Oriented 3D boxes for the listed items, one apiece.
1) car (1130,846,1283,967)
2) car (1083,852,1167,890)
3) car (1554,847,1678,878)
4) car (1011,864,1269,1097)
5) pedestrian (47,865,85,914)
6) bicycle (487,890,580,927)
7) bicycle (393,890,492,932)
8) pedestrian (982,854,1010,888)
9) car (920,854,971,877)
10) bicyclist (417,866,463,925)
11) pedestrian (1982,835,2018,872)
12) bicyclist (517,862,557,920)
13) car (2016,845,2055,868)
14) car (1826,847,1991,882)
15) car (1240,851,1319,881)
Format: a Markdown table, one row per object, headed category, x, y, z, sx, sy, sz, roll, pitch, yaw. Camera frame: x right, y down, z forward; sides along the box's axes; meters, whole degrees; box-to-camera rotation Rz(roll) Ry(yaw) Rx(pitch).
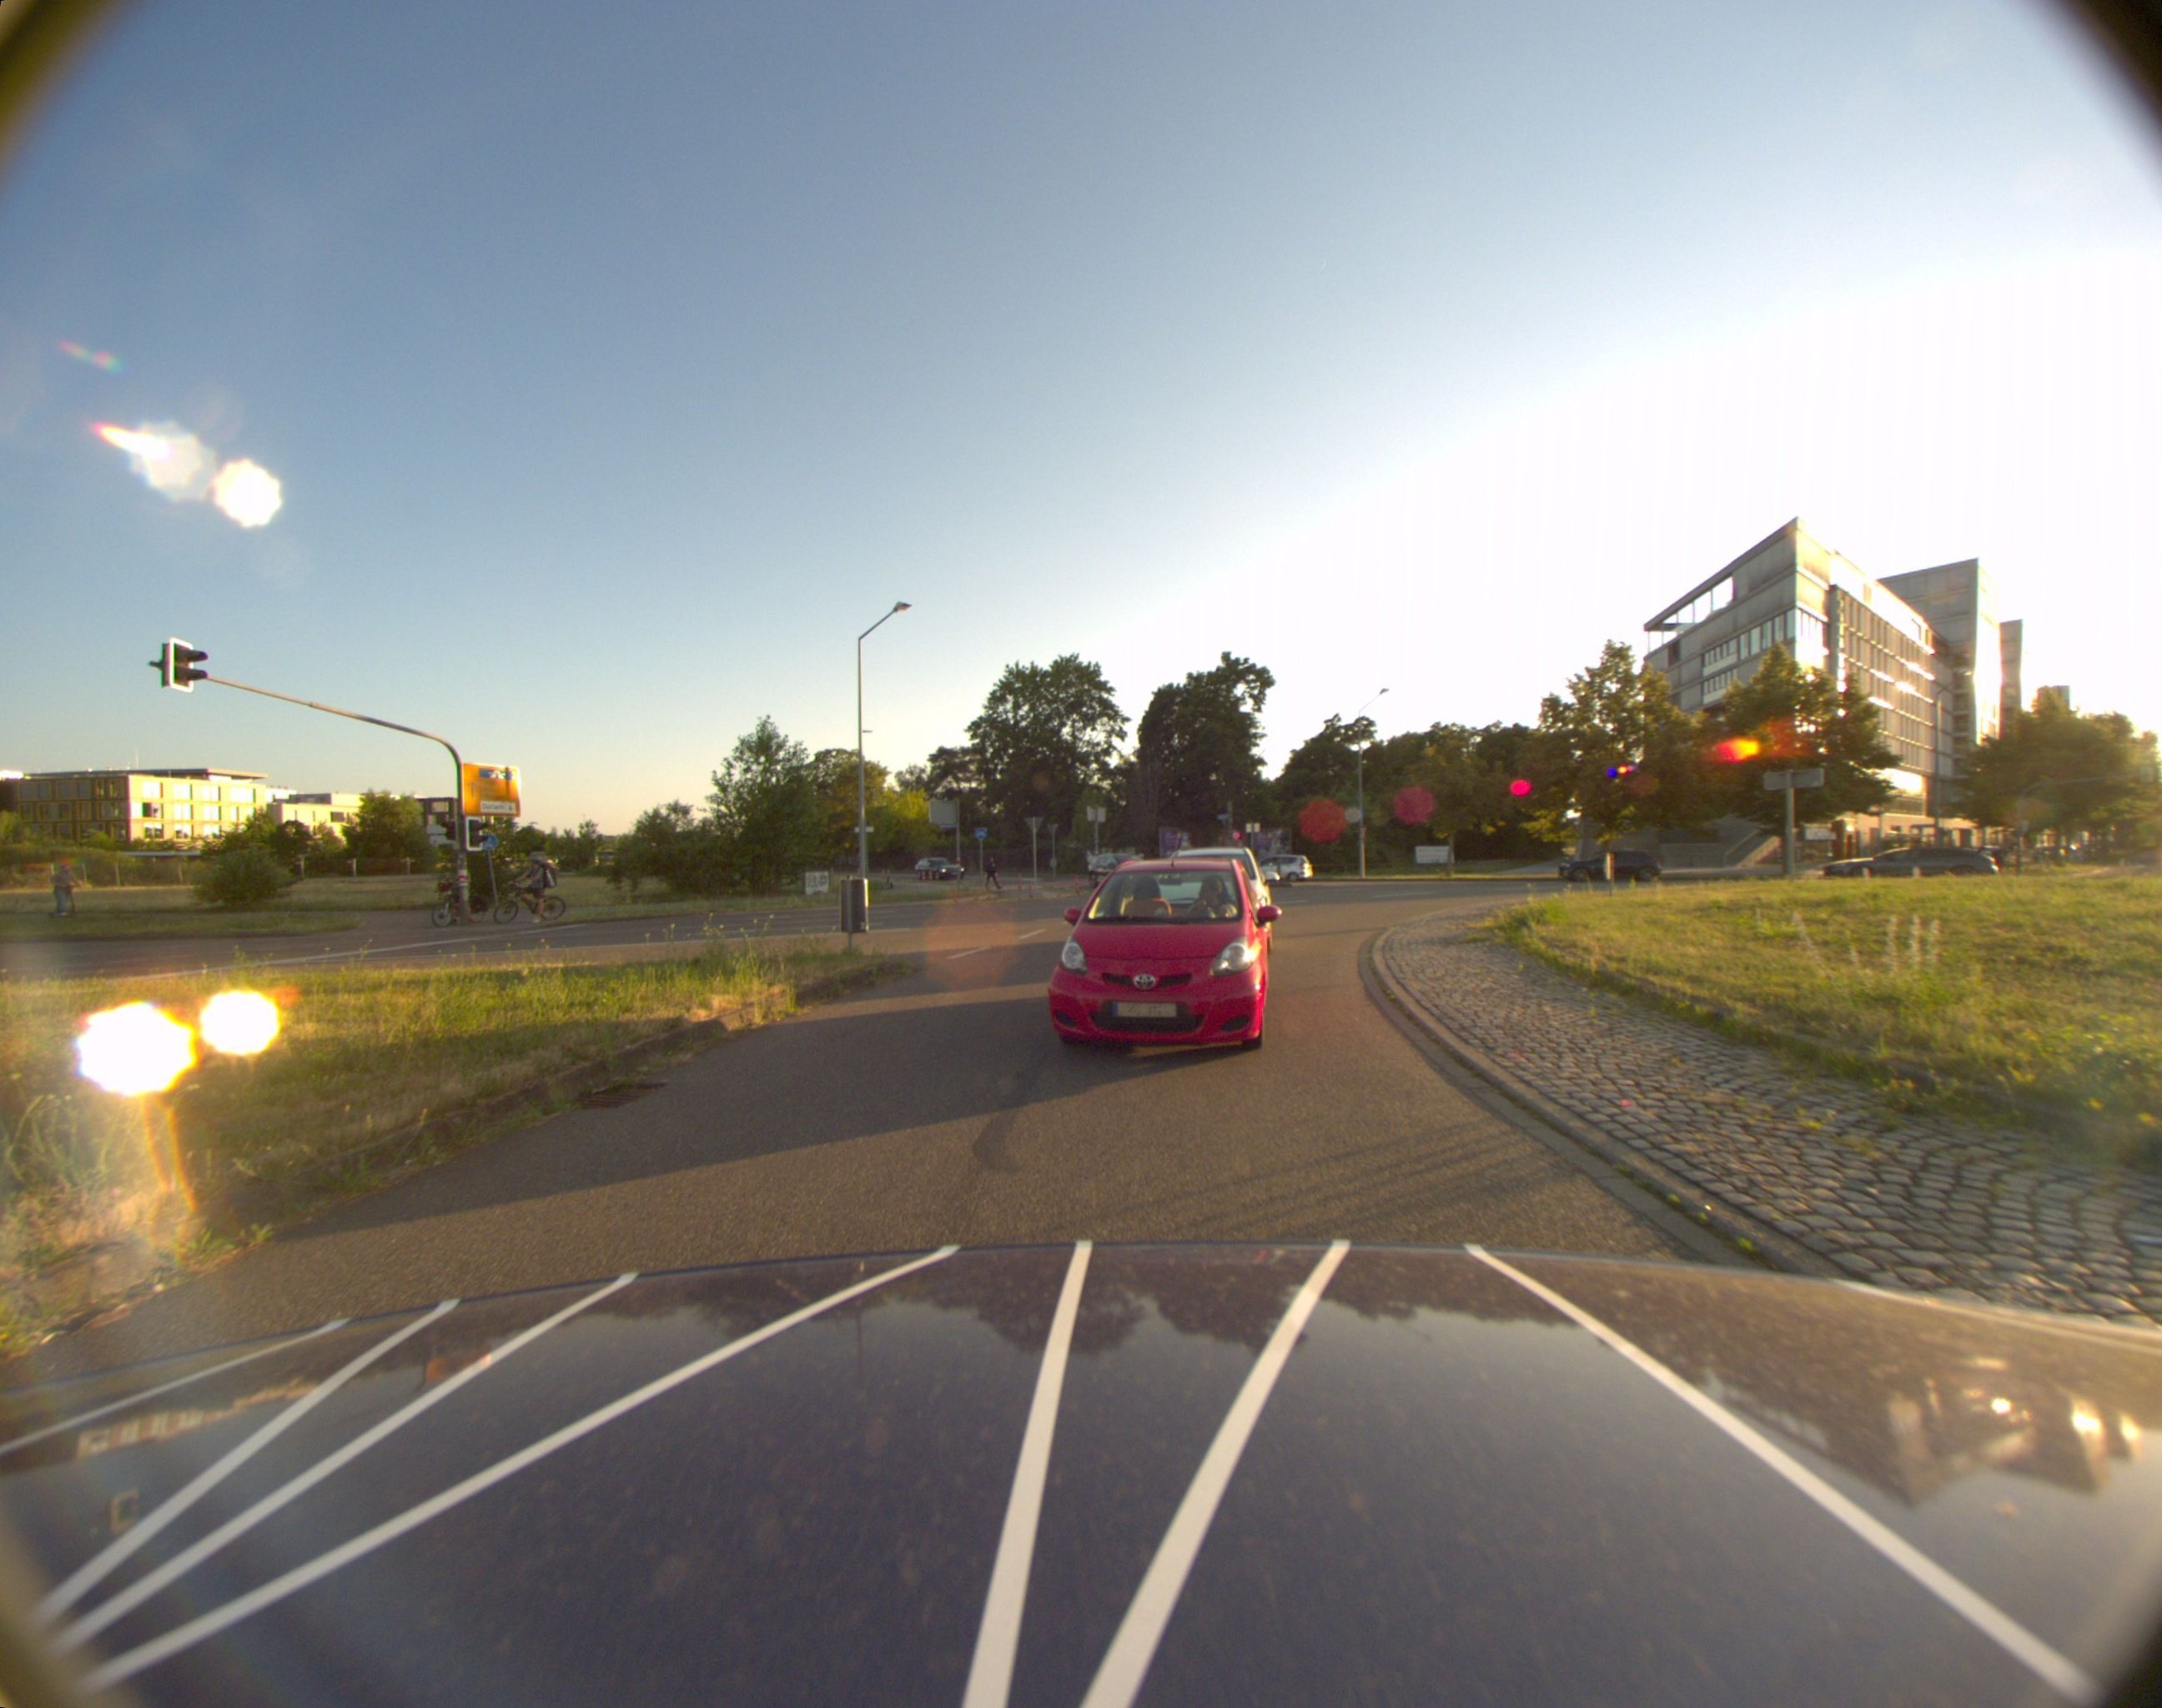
| category | x | y | z | sx | sy | sz | roll | pitch | yaw |
| --- | --- | --- | --- | --- | --- | --- | --- | --- | --- |
| car | 2.034 | 0.691 | 12.211 | 1.997 | 1.597 | 4.201 | -1 | 0 | 10 |
| car | 1.939 | 0.733 | 34.793 | 2.003 | 1.588 | 4.305 | -1 | 1 | -26 |
| car | 24.736 | 0.385 | 35.312 | 4.374 | 1.368 | 2.003 | -1 | 1 | 22 |
| car | 0.848 | 0.861 | 7.067 | 1.686 | 1.412 | 4.004 | -1 | 1 | 15 |
| pedestrian | -34.898 | 1.216 | 26.119 | 0.519 | 1.674 | 0.566 | -1 | 1 | 8 |
| bicycle | -16.345 | 1.605 | 22.756 | 0.708 | 0.957 | 2.149 | -1 | 1 | 29 |
| bicycle | -18.482 | 1.629 | 22.074 | 0.708 | 0.958 | 2.109 | -1 | 2 | 16 |
| pedestrian | -4.132 | 0.813 | 36.876 | 0.993 | 1.581 | 0.924 | -2 | 1 | -34 |
| car | -9.377 | 0.789 | 52.381 | 2.003 | 1.477 | 3.990 | -2 | 1 | -33 |
| bicyclist | -18.544 | 1.188 | 21.988 | 0.724 | 1.680 | 0.690 | -1 | 1 | 14 |
| pedestrian | 50.928 | -0.036 | 42.118 | 0.776 | 2.002 | 0.998 | -3 | 1 | -9 |
| bicyclist | -16.328 | 1.091 | 22.814 | 0.723 | 1.680 | 0.690 | -1 | 1 | 30 |
| car | 89.828 | 0.228 | 71.482 | 4.007 | 2.002 | 1.995 | -1 | 1 | -34 |
| car | 34.258 | 0.432 | 31.678 | 4.339 | 1.368 | 2.004 | -1 | 1 | 36 |
| car | 11.038 | 0.663 | 42.308 | 3.882 | 1.571 | 1.958 | -1 | 1 | 30 |
